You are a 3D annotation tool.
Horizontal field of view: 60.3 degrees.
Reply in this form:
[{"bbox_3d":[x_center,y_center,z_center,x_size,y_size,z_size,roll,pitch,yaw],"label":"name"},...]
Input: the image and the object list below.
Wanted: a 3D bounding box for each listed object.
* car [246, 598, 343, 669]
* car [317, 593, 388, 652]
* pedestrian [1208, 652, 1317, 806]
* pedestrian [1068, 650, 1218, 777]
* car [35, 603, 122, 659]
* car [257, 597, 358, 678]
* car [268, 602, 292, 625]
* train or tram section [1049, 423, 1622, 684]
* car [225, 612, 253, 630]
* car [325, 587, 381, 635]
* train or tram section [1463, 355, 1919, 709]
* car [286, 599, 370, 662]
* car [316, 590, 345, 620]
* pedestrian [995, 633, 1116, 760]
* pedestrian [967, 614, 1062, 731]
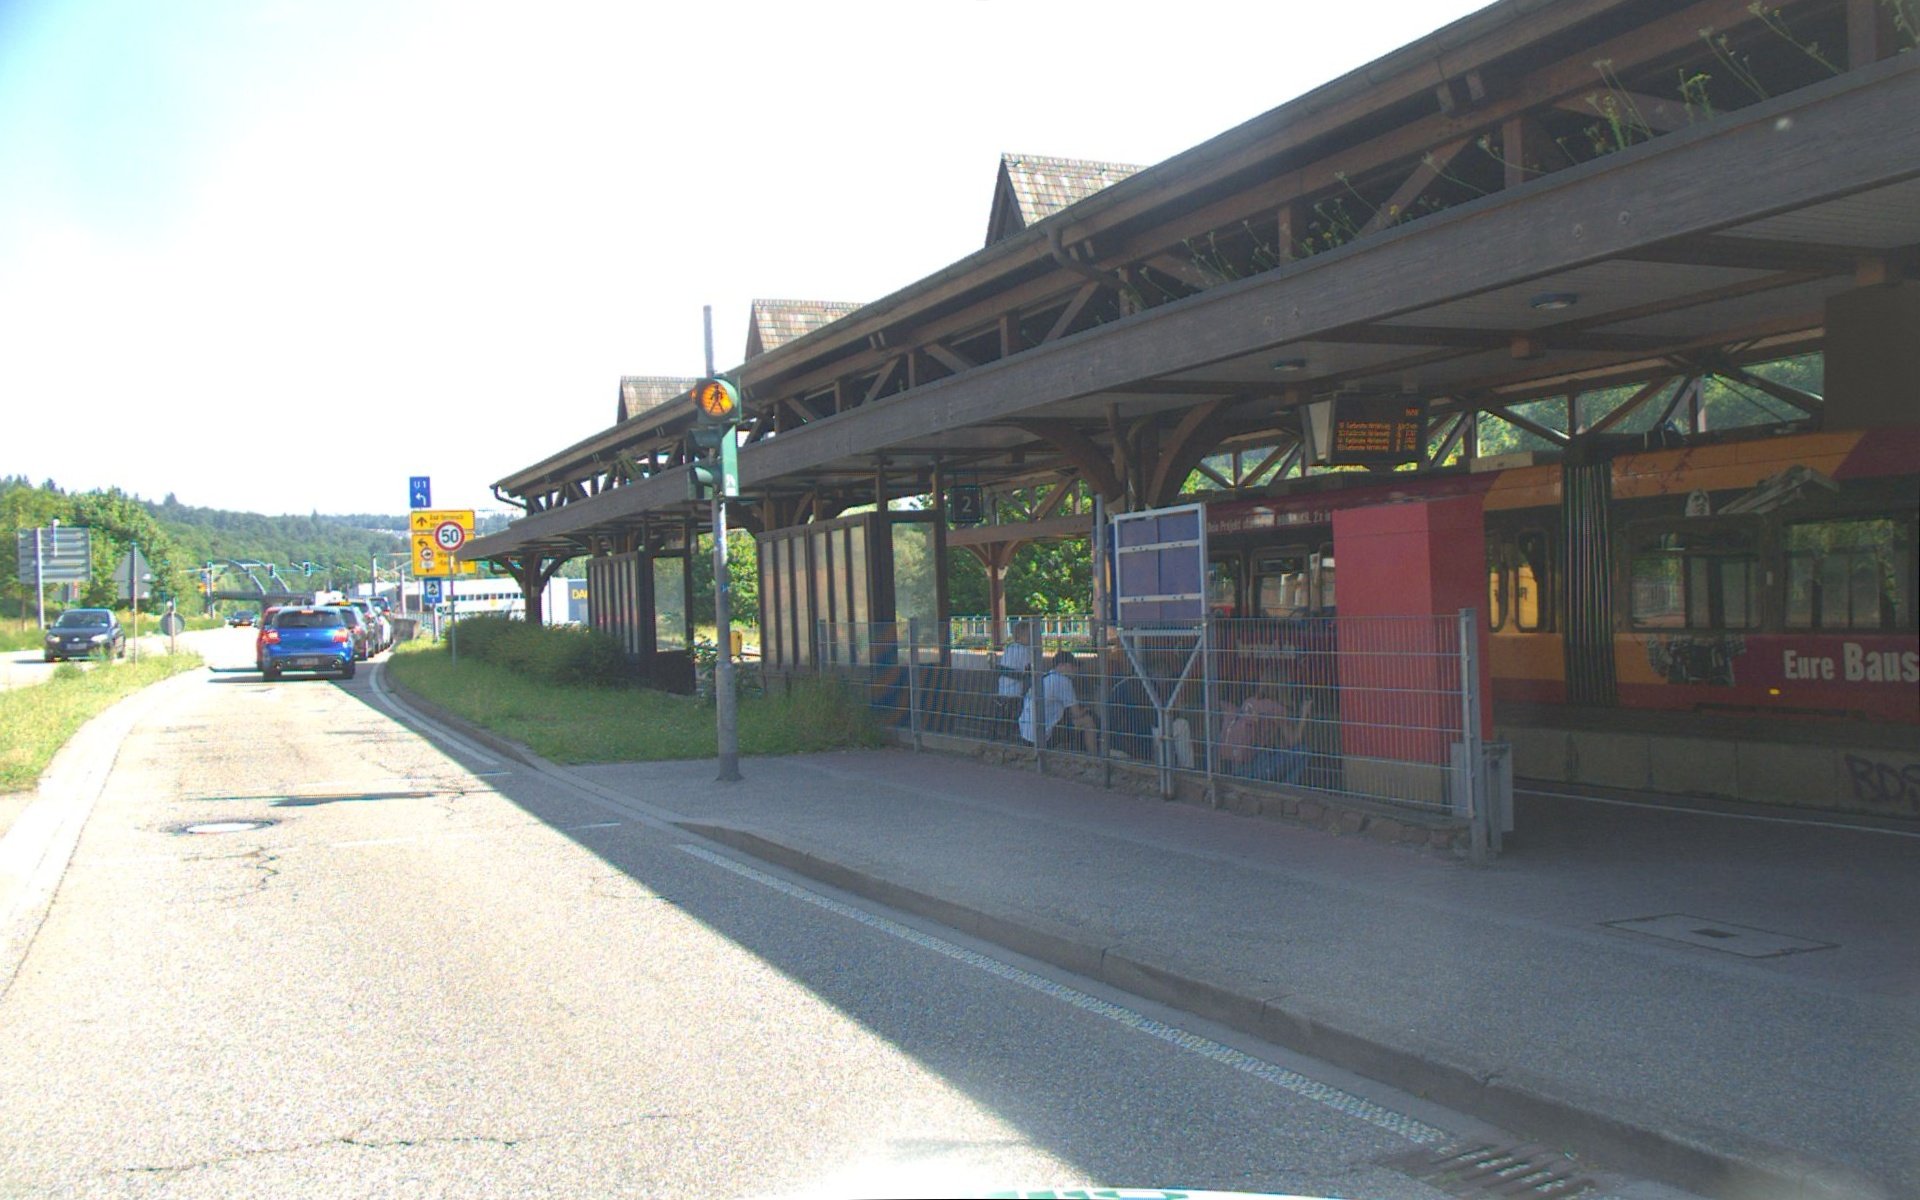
[{"bbox_3d":[-15.977,0.782,39.869,1.964,1.599,3.977,0,0,-19],"label":"car"},{"bbox_3d":[-18.662,0.671,50.935,1.964,1.716,4.471,0,0,-19],"label":"car"},{"bbox_3d":[2.044,0.857,11.184,0.610,0.983,0.403,0,0,-29],"label":"pedestrian"},{"bbox_3d":[1.393,0.849,12.653,0.835,0.889,0.800,0,1,-29],"label":"pedestrian"},{"bbox_3d":[-25.310,0.850,47.613,1.721,1.488,4.017,-2,1,-22],"label":"car"},{"bbox_3d":[-13.679,0.742,34.714,1.842,1.575,3.974,-1,0,-22],"label":"car"},{"bbox_3d":[-63.887,1.279,155.398,1.965,2.049,3.974,-1,0,-21],"label":"car"},{"bbox_3d":[5.436,-0.624,27.656,2.720,3.423,11.954,0,0,-24],"label":"train or tram section"},{"bbox_3d":[-63.445,1.799,145.587,1.764,1.496,4.691,-1,0,-18],"label":"car"},{"bbox_3d":[-23.488,0.421,64.090,1.964,1.766,3.977,0,0,-19],"label":"car"},{"bbox_3d":[10.387,-0.652,16.900,2.752,3.423,11.948,0,-1,-25],"label":"train or tram section"},{"bbox_3d":[-17.139,0.789,45.034,1.964,1.558,4.575,-2,1,-19],"label":"car"},{"bbox_3d":[-47.449,0.395,124.645,1.965,2.182,4.690,0,0,-21],"label":"car"},{"bbox_3d":[0.799,0.798,13.994,0.734,0.999,0.762,0,0,-29],"label":"pedestrian"},{"bbox_3d":[0.552,0.722,16.824,0.734,1.136,0.661,0,0,-29],"label":"pedestrian"}]
